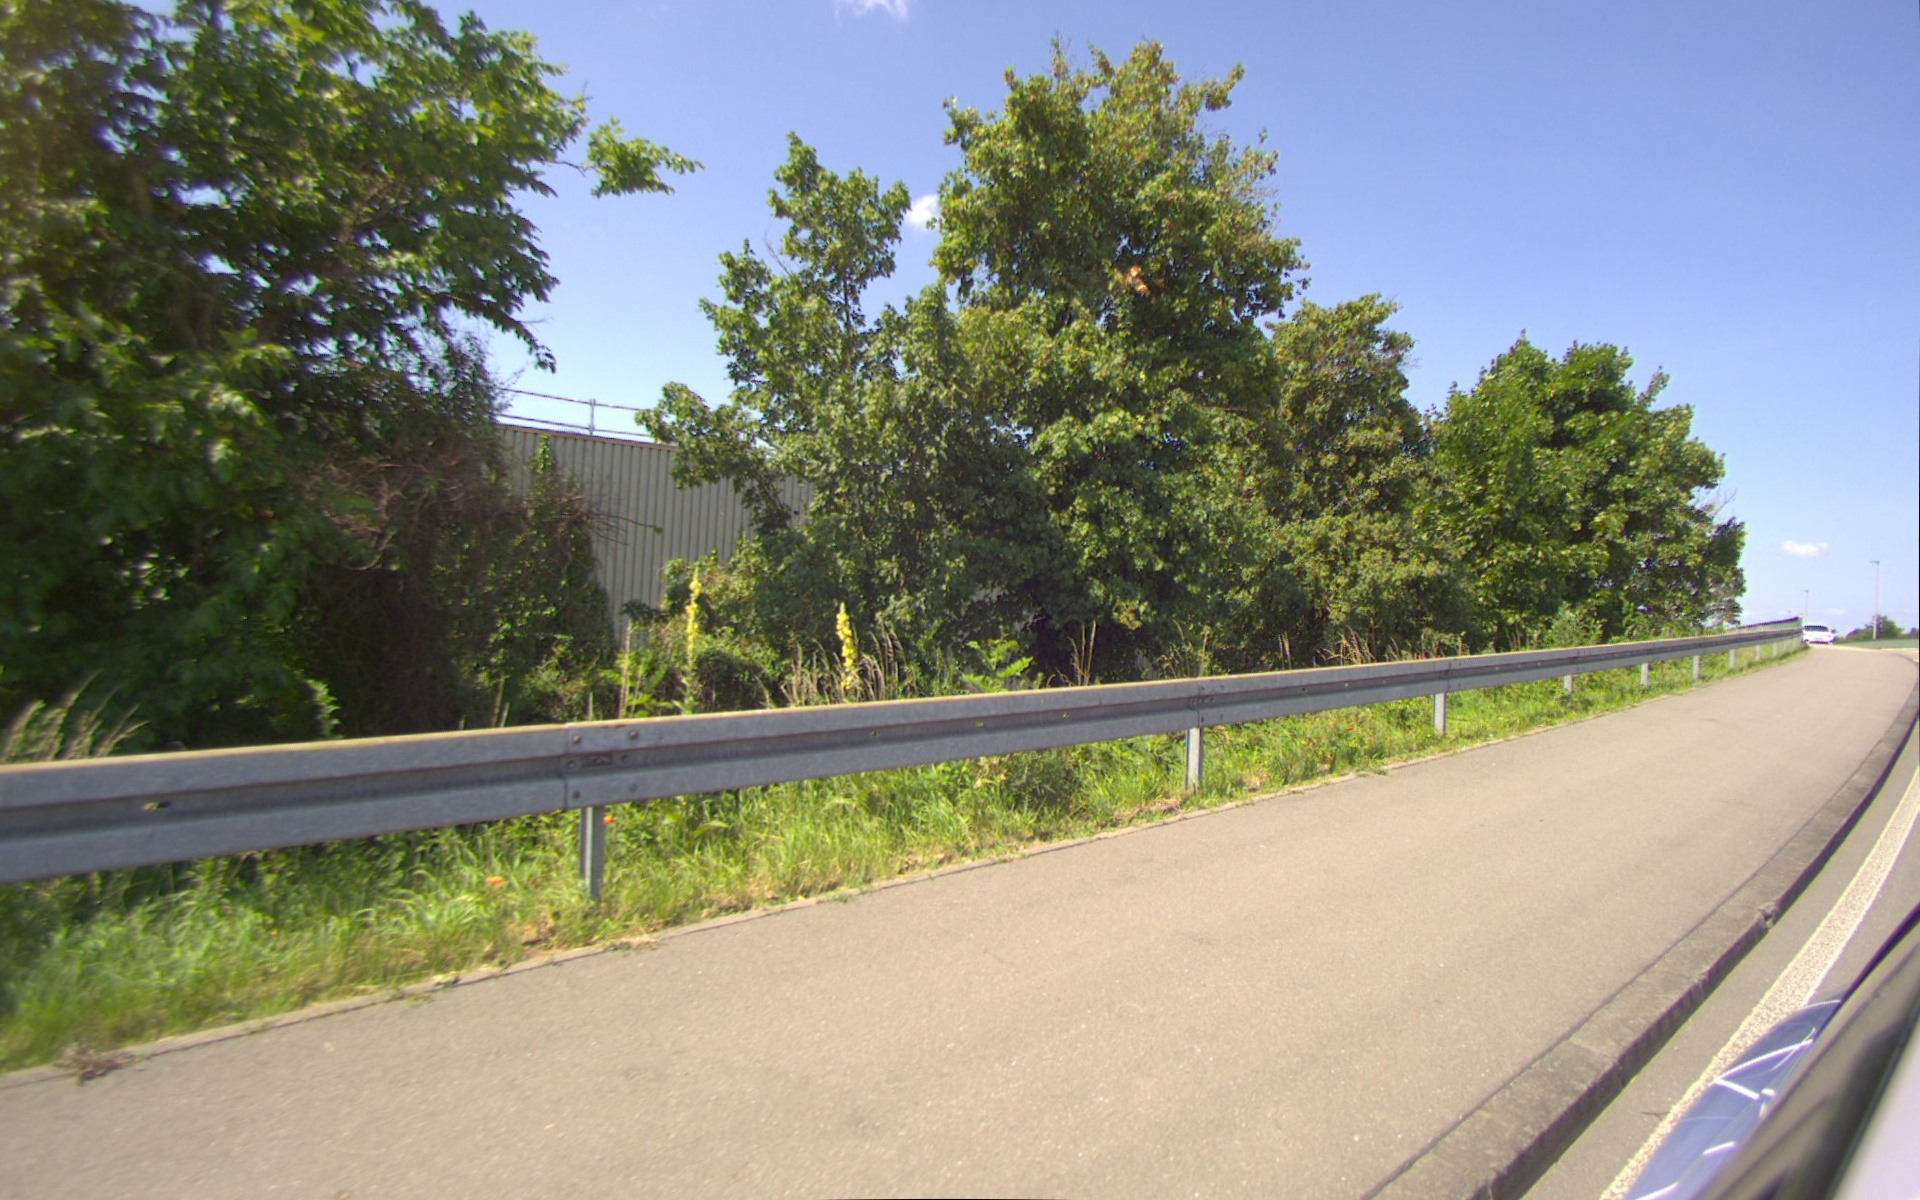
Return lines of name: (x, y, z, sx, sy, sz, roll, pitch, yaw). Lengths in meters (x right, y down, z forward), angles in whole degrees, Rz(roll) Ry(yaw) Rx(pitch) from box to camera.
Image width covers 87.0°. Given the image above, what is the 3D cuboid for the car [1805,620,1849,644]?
car: (66.077, 2.447, 77.195, 2.081, 1.784, 4.227, -1, -2, 35)
